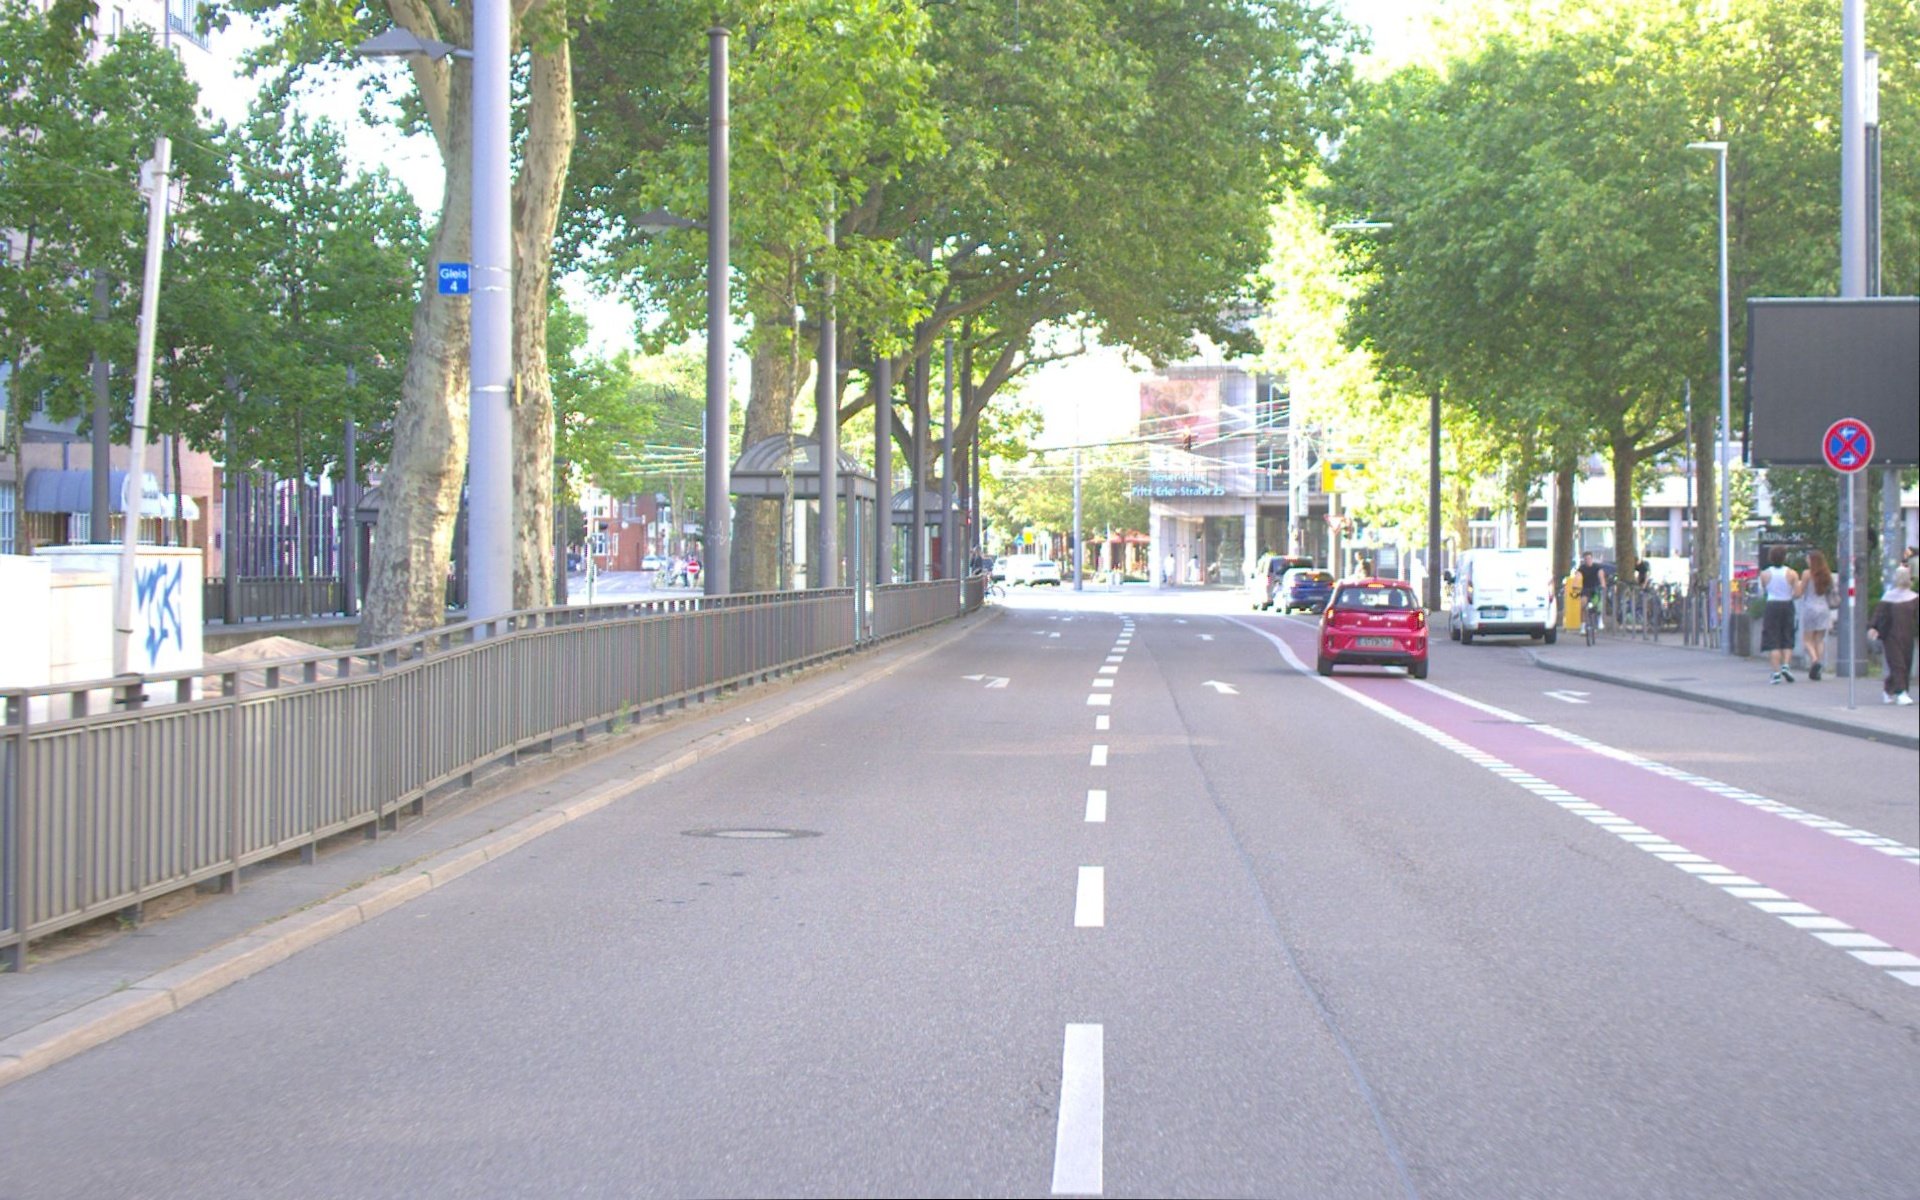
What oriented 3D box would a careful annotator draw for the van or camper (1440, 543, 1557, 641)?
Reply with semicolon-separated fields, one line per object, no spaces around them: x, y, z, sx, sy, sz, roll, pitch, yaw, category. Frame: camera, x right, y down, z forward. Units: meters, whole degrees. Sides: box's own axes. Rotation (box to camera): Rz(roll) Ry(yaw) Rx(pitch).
11.373;-0.187;72.825;1.994;1.982;4.744;0;1;4;van or camper

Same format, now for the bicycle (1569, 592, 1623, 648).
12.765;0.394;69.063;0.683;1.063;2.469;-1;0;2;bicycle

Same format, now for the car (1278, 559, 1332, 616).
11.060;-0.415;110.362;1.636;1.794;3.329;0;1;4;car

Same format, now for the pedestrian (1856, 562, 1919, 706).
10.617;0.377;38.884;0.641;1.574;0.723;-4;0;-5;pedestrian

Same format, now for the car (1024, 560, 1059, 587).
4.705;-1.544;198.349;1.777;1.529;3.412;1;1;-2;car

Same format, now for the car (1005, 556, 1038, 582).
3.669;-1.865;204.996;1.777;1.529;3.412;1;1;-2;car

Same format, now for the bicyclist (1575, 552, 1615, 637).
12.776;-0.114;69.162;0.650;1.696;0.952;0;0;2;bicyclist

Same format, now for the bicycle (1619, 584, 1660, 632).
15.434;0.172;78.081;0.586;1.063;1.900;-1;0;2;bicycle

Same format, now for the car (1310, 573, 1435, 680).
6.259;0.373;52.394;1.613;1.529;3.411;1;1;3;car

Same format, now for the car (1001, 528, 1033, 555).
3.506;-3.598;211.004;1.777;1.583;3.412;1;1;-2;car

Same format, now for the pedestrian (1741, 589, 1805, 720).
10.837;0.720;45.840;0.564;1.696;0.907;-3;0;0;pedestrian

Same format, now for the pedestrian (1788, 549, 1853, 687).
11.468;0.230;45.839;0.540;1.790;0.907;-3;0;0;pedestrian

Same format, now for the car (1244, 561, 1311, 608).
10.731;-0.544;116.281;1.777;1.529;3.512;1;1;-2;car

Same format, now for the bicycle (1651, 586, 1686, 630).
16.075;0.180;78.068;0.467;0.978;1.767;-1;0;2;bicycle

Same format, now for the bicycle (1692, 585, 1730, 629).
17.048;0.155;78.034;0.503;0.978;1.767;-1;0;2;bicycle
